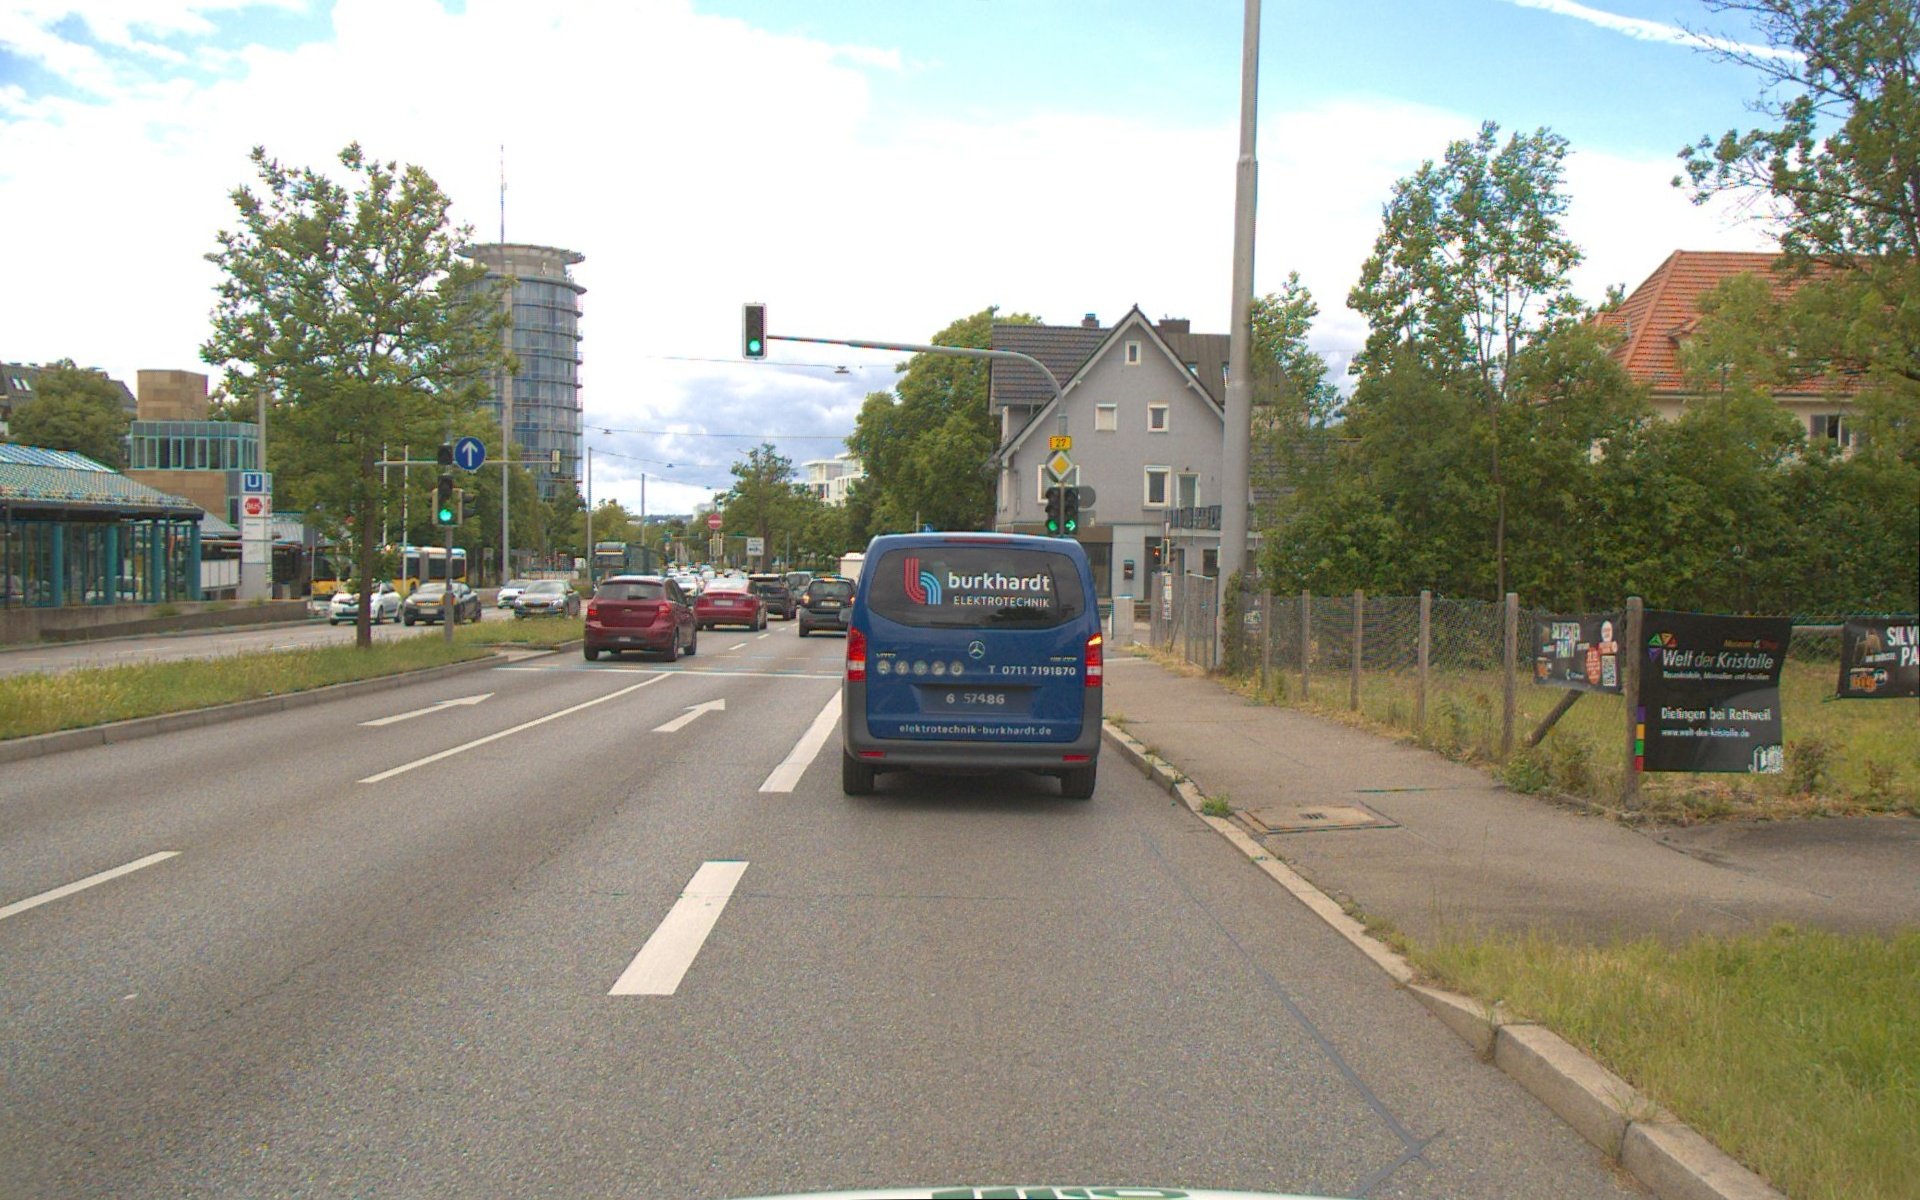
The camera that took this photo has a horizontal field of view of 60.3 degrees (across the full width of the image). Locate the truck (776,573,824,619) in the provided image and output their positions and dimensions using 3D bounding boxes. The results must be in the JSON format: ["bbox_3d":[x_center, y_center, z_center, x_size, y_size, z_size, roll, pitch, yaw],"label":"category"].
[{"bbox_3d":[-8.143,-0.234,84.575,1.953,2.203,5.558,2,0,-1],"label":"truck"}]

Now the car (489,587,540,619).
[{"bbox_3d":[-22.681,0.119,84.324,1.698,1.601,4.503,0,0,-4],"label":"car"}]

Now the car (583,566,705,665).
[{"bbox_3d":[-5.876,0.250,31.154,1.711,1.753,3.998,0,1,-3],"label":"car"}]

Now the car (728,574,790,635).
[{"bbox_3d":[-7.352,0.132,60.186,1.957,2.048,3.991,2,1,-10],"label":"car"}]

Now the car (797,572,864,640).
[{"bbox_3d":[-3.493,0.129,44.537,1.712,1.753,3.996,0,1,-5],"label":"car"}]

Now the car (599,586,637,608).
[{"bbox_3d":[-20.991,-0.198,101.516,1.794,1.284,3.996,0,1,-5],"label":"car"}]

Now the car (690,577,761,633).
[{"bbox_3d":[-6.709,0.123,47.098,1.835,1.512,3.990,1,0,-10],"label":"car"}]

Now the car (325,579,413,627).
[{"bbox_3d":[-20.039,0.079,56.245,1.591,1.601,3.999,0,0,-1],"label":"car"}]

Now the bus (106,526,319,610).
[{"bbox_3d":[-31.280,-1.266,70.076,2.895,3.188,12.165,1,0,3],"label":"bus"}]

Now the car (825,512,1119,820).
[{"bbox_3d":[0.009,0.421,13.185,1.908,2.000,4.540,1,0,-2],"label":"car"}]

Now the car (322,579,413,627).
[{"bbox_3d":[-20.092,0.069,56.222,1.712,1.544,3.999,-1,1,-2],"label":"car"}]

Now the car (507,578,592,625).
[{"bbox_3d":[-14.429,0.017,58.407,1.953,1.601,4.515,0,0,-1],"label":"car"}]

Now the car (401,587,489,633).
[{"bbox_3d":[-17.138,0.292,55.257,1.778,1.422,5.005,-1,0,-6],"label":"car"}]

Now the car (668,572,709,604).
[{"bbox_3d":[-17.725,-0.798,108.039,1.952,2.049,4.179,0,1,0],"label":"car"}]

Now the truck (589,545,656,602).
[{"bbox_3d":[-24.244,-1.844,119.385,3.302,3.792,11.270,1,0,-4],"label":"truck"}]

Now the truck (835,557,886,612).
[{"bbox_3d":[-4.267,-0.678,71.719,1.953,2.203,5.558,2,0,-1],"label":"truck"}]
